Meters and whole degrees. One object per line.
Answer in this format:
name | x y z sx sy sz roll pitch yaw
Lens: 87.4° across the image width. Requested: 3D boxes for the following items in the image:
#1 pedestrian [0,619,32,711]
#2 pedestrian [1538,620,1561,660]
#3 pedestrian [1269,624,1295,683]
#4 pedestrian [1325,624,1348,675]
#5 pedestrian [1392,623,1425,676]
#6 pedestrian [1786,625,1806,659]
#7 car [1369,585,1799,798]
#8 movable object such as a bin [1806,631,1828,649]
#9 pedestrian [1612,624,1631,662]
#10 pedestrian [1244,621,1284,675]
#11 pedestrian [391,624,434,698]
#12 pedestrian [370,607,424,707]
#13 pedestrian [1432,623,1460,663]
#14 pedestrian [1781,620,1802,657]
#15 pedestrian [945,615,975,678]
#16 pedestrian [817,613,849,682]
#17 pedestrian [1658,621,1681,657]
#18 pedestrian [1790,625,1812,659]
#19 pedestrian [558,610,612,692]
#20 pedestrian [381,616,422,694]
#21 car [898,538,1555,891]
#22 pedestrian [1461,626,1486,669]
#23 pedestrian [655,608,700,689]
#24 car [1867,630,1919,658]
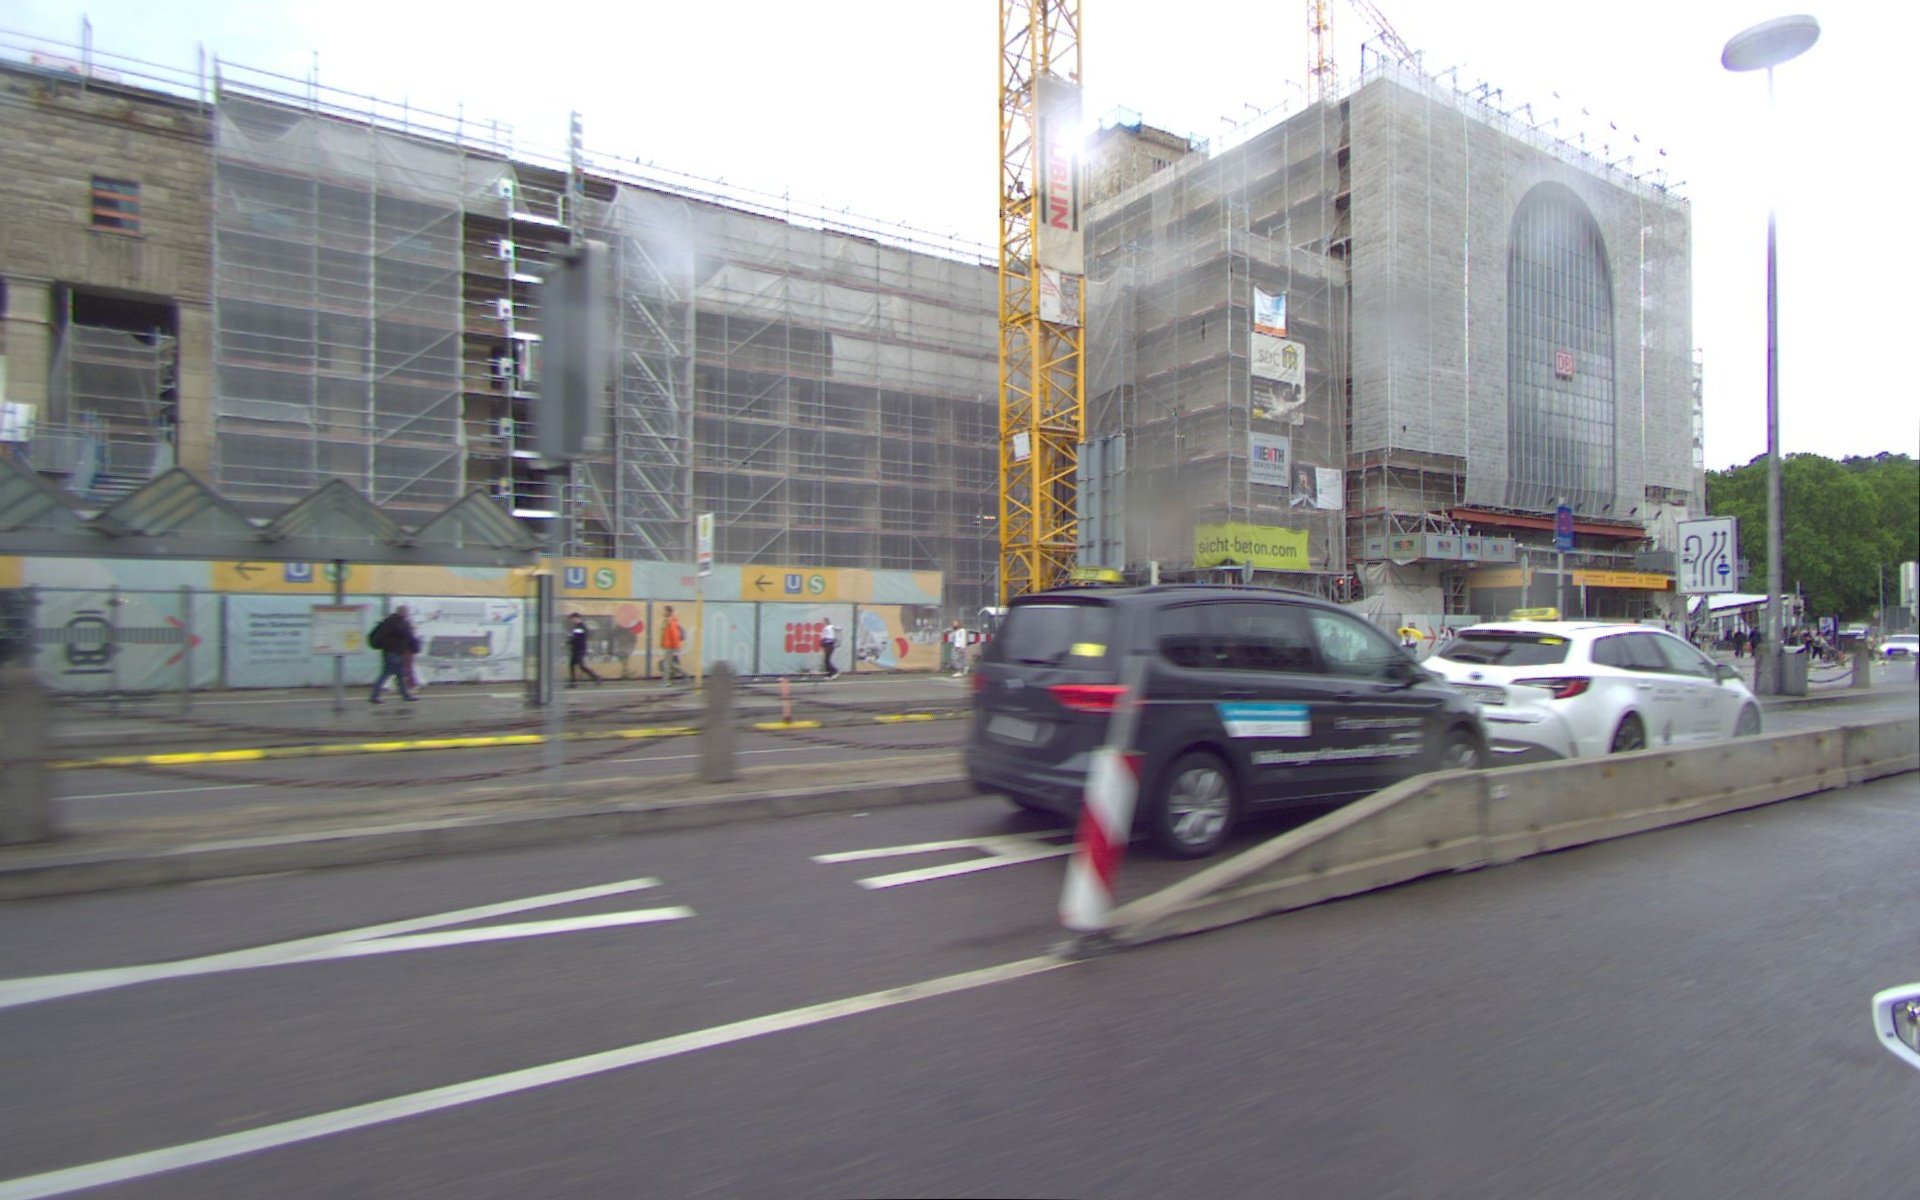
pedestrian | -17.206 1.152 18.002 0.694 1.629 0.798 1 -1 -33
pedestrian | 27.609 1.868 47.022 0.763 1.865 0.830 0 -1 44
pedestrian | 10.362 1.703 32.309 0.698 1.865 0.503 1 -1 -38
pedestrian | 13.865 1.802 36.955 0.564 1.865 0.700 0 -1 44
pedestrian | 16.251 1.770 36.419 0.866 1.865 0.833 0 -1 44
pedestrian | 46.291 2.318 55.620 0.523 1.865 0.693 1 -1 -34
car | 6.513 0.807 10.308 4.782 1.728 1.982 1 -2 -34
movable object such as a bin | 47.251 2.180 55.384 0.713 0.983 0.754 1 -2 -34
pedestrian | 32.941 2.138 49.986 0.763 1.865 0.532 1 -1 -33
pedestrian | 10.629 1.668 35.124 1.045 1.865 0.836 1 -1 -28
pedestrian | -11.838 1.299 21.728 0.695 1.568 0.797 1 -1 -37
pedestrian | -10.788 1.074 19.257 0.689 1.865 0.745 1 -1 -12
pedestrian | 20.206 1.764 41.762 0.828 1.635 0.673 1 -1 -30
pedestrian | 43.290 1.995 52.289 0.767 1.865 0.634 1 -1 -35
pedestrian | 0.000 1.368 29.820 0.604 1.865 0.718 1 -1 -28
pedestrian | -3.479 1.289 27.581 0.648 1.865 0.739 1 -1 -28
pedestrian | 37.971 2.086 53.768 0.763 1.865 0.774 1 -1 -33
pedestrian | 46.874 2.329 55.996 0.869 1.865 0.693 1 -1 -34
pedestrian | -8.913 1.198 23.840 1.033 1.865 0.852 1 1 -32
pedestrian | -12.466 1.200 22.419 0.695 1.693 0.797 1 -1 -37
car | 2.101 0.675 7.472 4.777 1.887 1.984 1 -2 -31
pedestrian | 20.630 1.904 40.334 0.674 1.708 0.833 0 -1 44
pedestrian | -7.066 1.193 25.105 0.856 1.965 0.737 1 1 -35
car | 54.623 2.550 58.279 3.956 1.487 1.982 2 -1 -32
